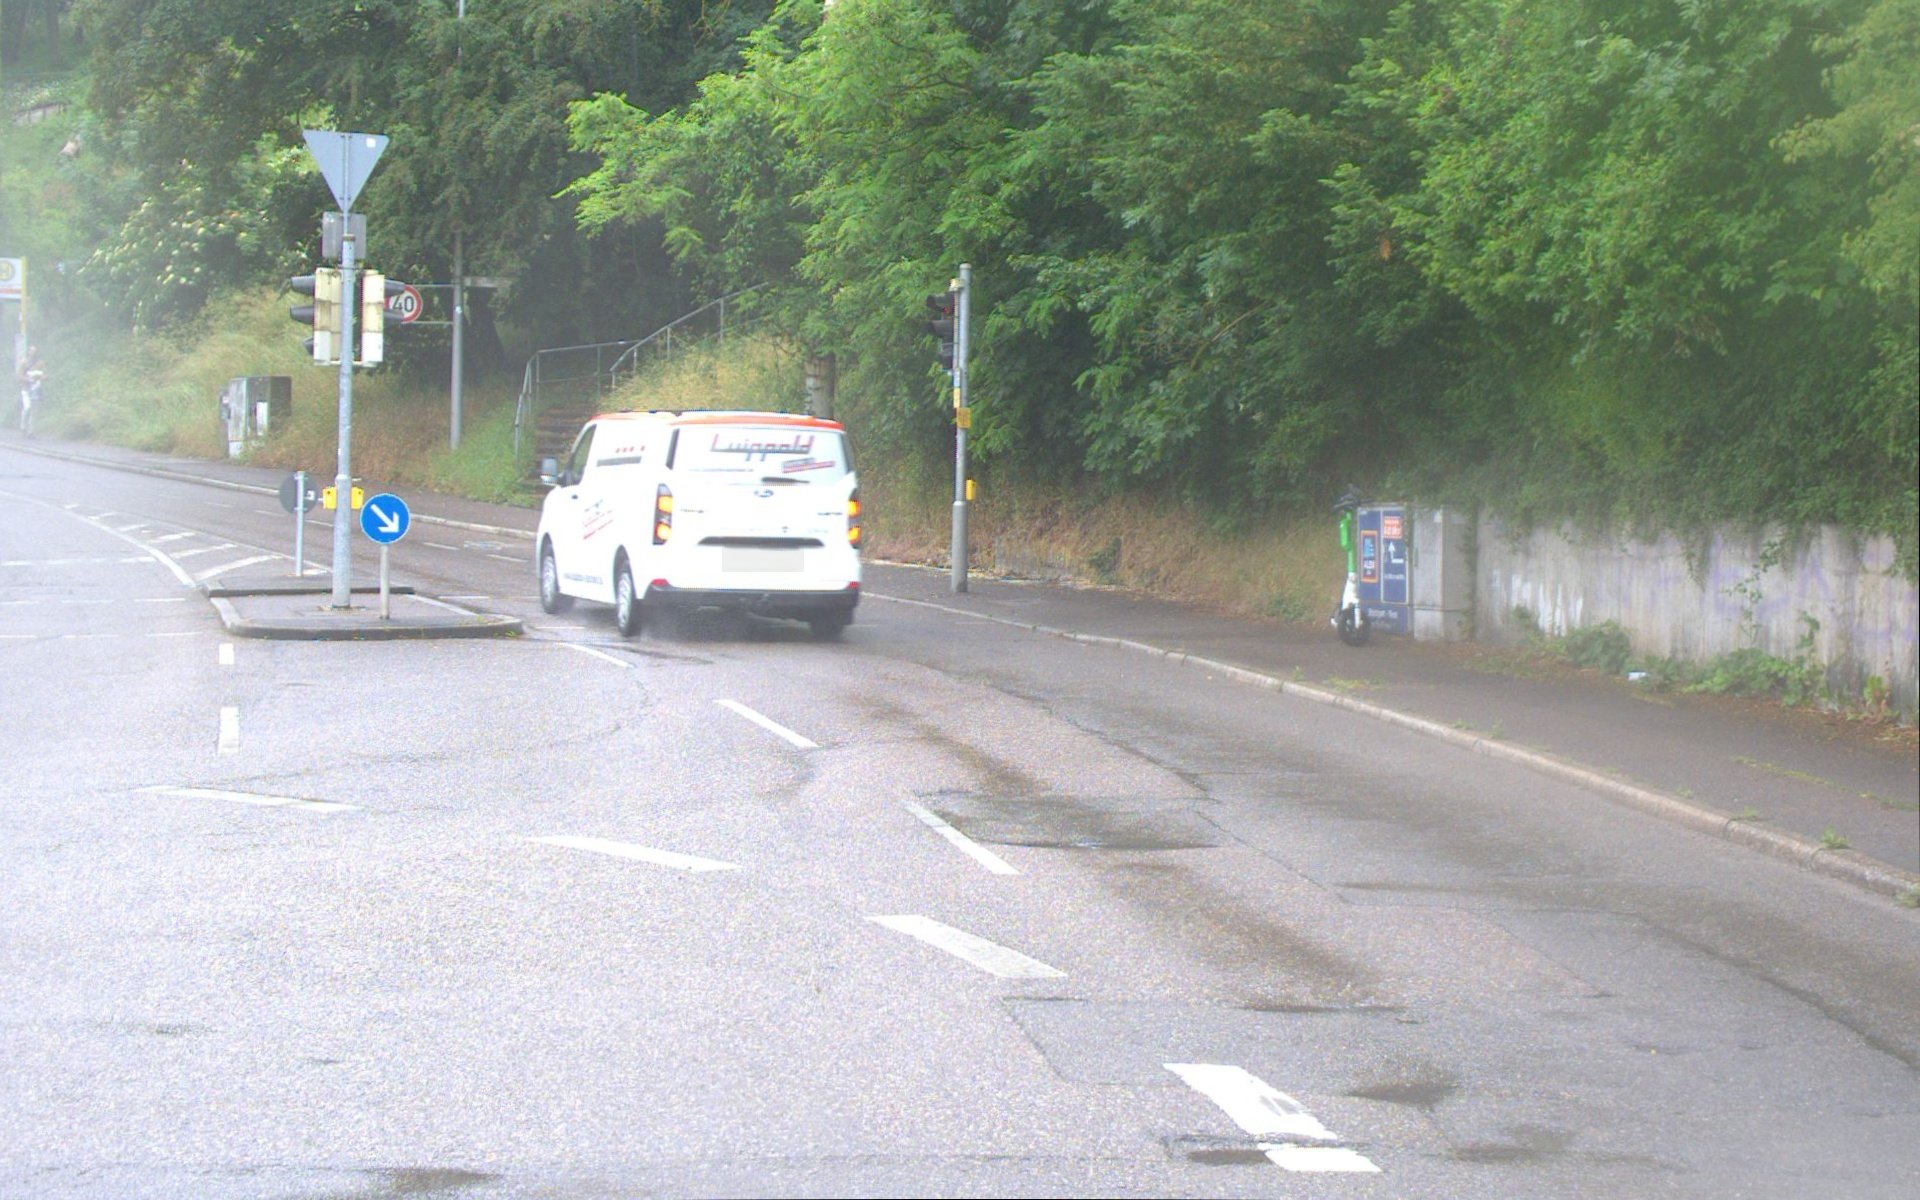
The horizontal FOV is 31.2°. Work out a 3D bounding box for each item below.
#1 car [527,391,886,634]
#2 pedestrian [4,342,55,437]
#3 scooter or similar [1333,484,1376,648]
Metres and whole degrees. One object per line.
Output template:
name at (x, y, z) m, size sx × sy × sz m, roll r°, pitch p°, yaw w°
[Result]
car at (-2.383, -0.808, 30.913) m, size 2.065 × 1.999 × 4.816 m, roll 0°, pitch 2°, yaw -19°
pedestrian at (-17.682, -3.997, 65.351) m, size 0.880 × 1.730 × 0.866 m, roll 1°, pitch 0°, yaw -18°
scooter or similar at (3.159, -0.281, 27.531) m, size 0.322 × 1.275 × 0.751 m, roll 0°, pitch 4°, yaw 7°
